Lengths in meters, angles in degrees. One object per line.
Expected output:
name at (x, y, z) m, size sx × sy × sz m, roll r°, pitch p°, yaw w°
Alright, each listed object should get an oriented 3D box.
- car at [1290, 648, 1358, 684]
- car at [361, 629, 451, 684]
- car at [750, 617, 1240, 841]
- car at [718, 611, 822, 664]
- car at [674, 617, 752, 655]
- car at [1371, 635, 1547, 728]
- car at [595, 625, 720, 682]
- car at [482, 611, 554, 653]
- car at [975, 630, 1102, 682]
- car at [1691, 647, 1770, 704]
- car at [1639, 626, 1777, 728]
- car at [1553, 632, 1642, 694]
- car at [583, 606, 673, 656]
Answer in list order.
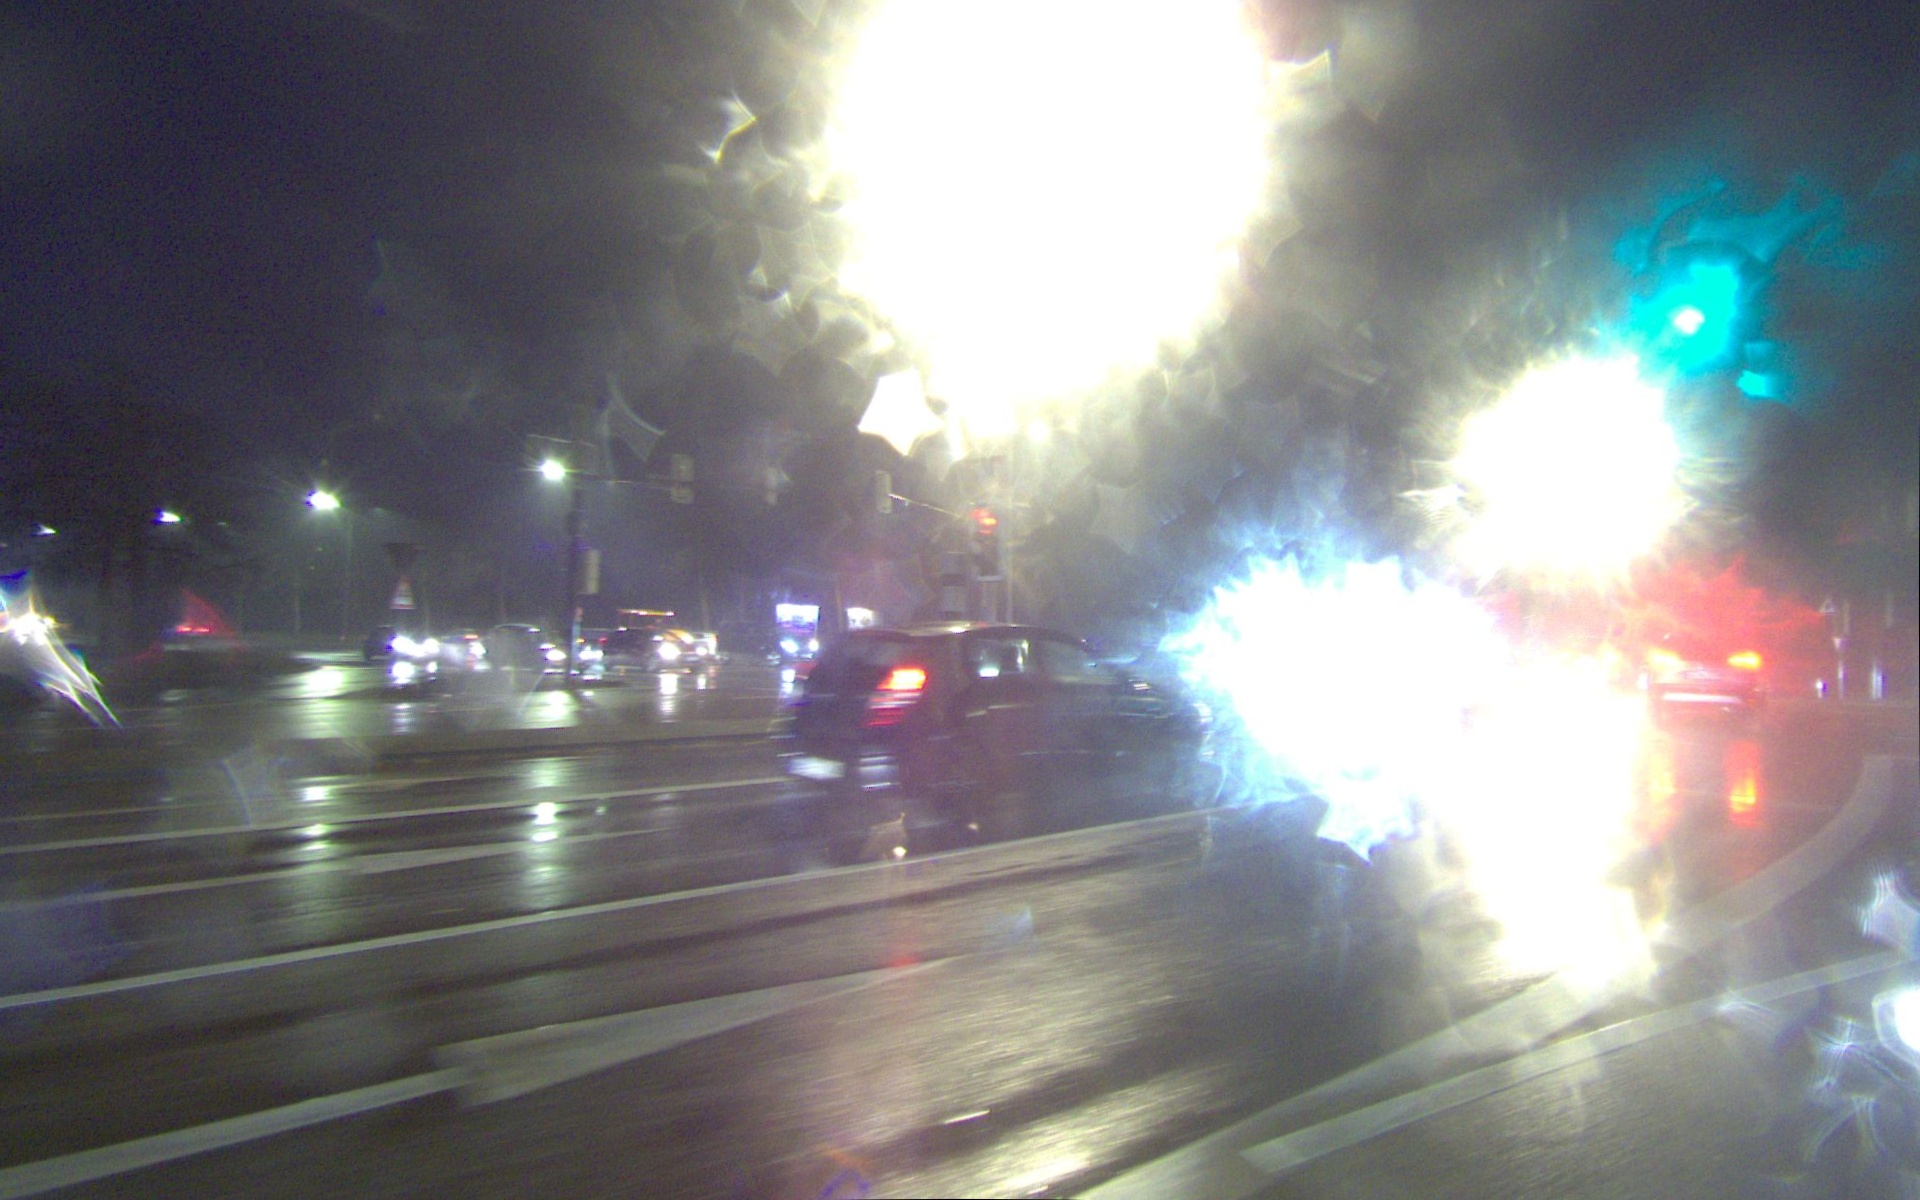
car at (17.697, 3.173, 48.762) m, size 1.808 × 1.494 × 4.018 m, roll 2°, pitch 0°, yaw 40°
car at (-24.062, 2.402, 43.610) m, size 3.931 × 2.107 × 1.660 m, roll 2°, pitch -1°, yaw 32°
car at (0.468, 0.898, 8.603) m, size 4.090 × 1.426 × 1.814 m, roll 2°, pitch -1°, yaw -42°
car at (-7.565, 1.463, 39.839) m, size 4.079 × 1.878 × 1.662 m, roll 2°, pitch -1°, yaw 36°
car at (-12.834, 1.853, 52.174) m, size 3.709 × 1.741 × 1.779 m, roll 2°, pitch -1°, yaw 29°
car at (8.984, 1.387, 17.929) m, size 1.717 × 1.455 × 4.267 m, roll -2°, pitch -3°, yaw 42°
car at (-10.356, 1.776, 34.291) m, size 4.190 × 1.654 × 1.952 m, roll 2°, pitch -1°, yaw 36°
car at (-22.576, 1.603, 51.274) m, size 3.551 × 1.964 × 1.707 m, roll 2°, pitch -1°, yaw 36°
car at (2.478, 1.683, 30.956) m, size 1.704 × 1.433 × 4.004 m, roll 2°, pitch 0°, yaw 44°
car at (26.561, 2.543, 34.755) m, size 1.803 × 1.675 × 4.467 m, roll 2°, pitch 0°, yaw 34°
car at (13.942, 1.365, 18.639) m, size 1.828 × 1.612 × 4.005 m, roll 1°, pitch -2°, yaw 40°
car at (19.163, 1.860, 30.131) m, size 1.885 × 1.680 × 3.971 m, roll 0°, pitch -3°, yaw 38°
car at (-15.102, 1.386, 45.586) m, size 4.079 × 2.051 × 1.788 m, roll 2°, pitch -1°, yaw 36°
